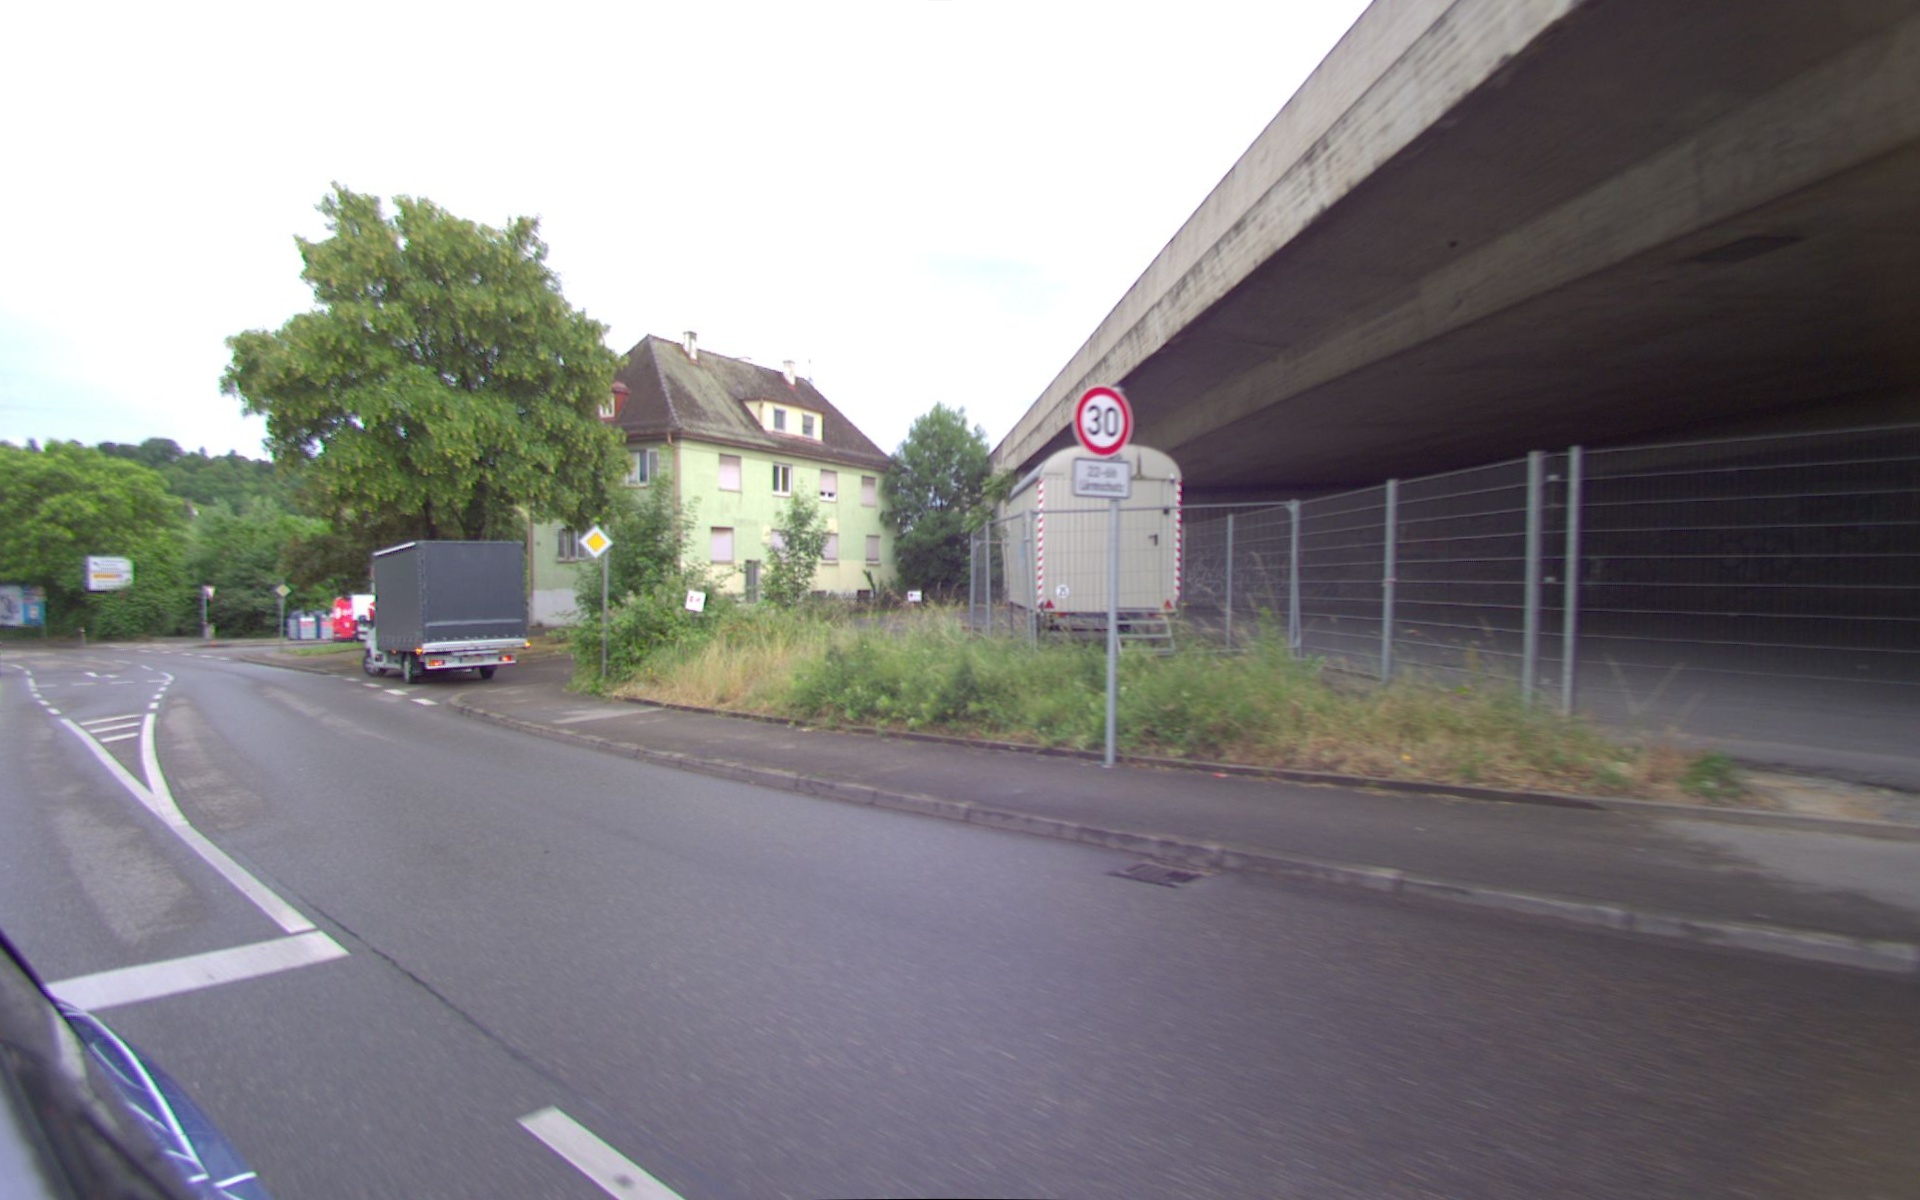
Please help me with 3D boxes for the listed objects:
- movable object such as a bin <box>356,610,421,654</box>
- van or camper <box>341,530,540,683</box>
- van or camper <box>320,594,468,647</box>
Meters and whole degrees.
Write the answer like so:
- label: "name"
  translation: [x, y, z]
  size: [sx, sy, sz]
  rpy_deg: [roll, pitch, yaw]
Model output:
- label: "movable object such as a bin"
  translation: [-20.777, 1.162, 36.826]
  size: [1.362, 1.451, 1.468]
  rpy_deg: [-5, 0, 10]
- label: "van or camper"
  translation: [-13.571, 0.171, 26.037]
  size: [2.665, 3.360, 7.772]
  rpy_deg: [-2, 0, -41]
- label: "van or camper"
  translation: [-29.590, 1.031, 53.243]
  size: [2.212, 2.541, 6.635]
  rpy_deg: [-2, 0, 27]
